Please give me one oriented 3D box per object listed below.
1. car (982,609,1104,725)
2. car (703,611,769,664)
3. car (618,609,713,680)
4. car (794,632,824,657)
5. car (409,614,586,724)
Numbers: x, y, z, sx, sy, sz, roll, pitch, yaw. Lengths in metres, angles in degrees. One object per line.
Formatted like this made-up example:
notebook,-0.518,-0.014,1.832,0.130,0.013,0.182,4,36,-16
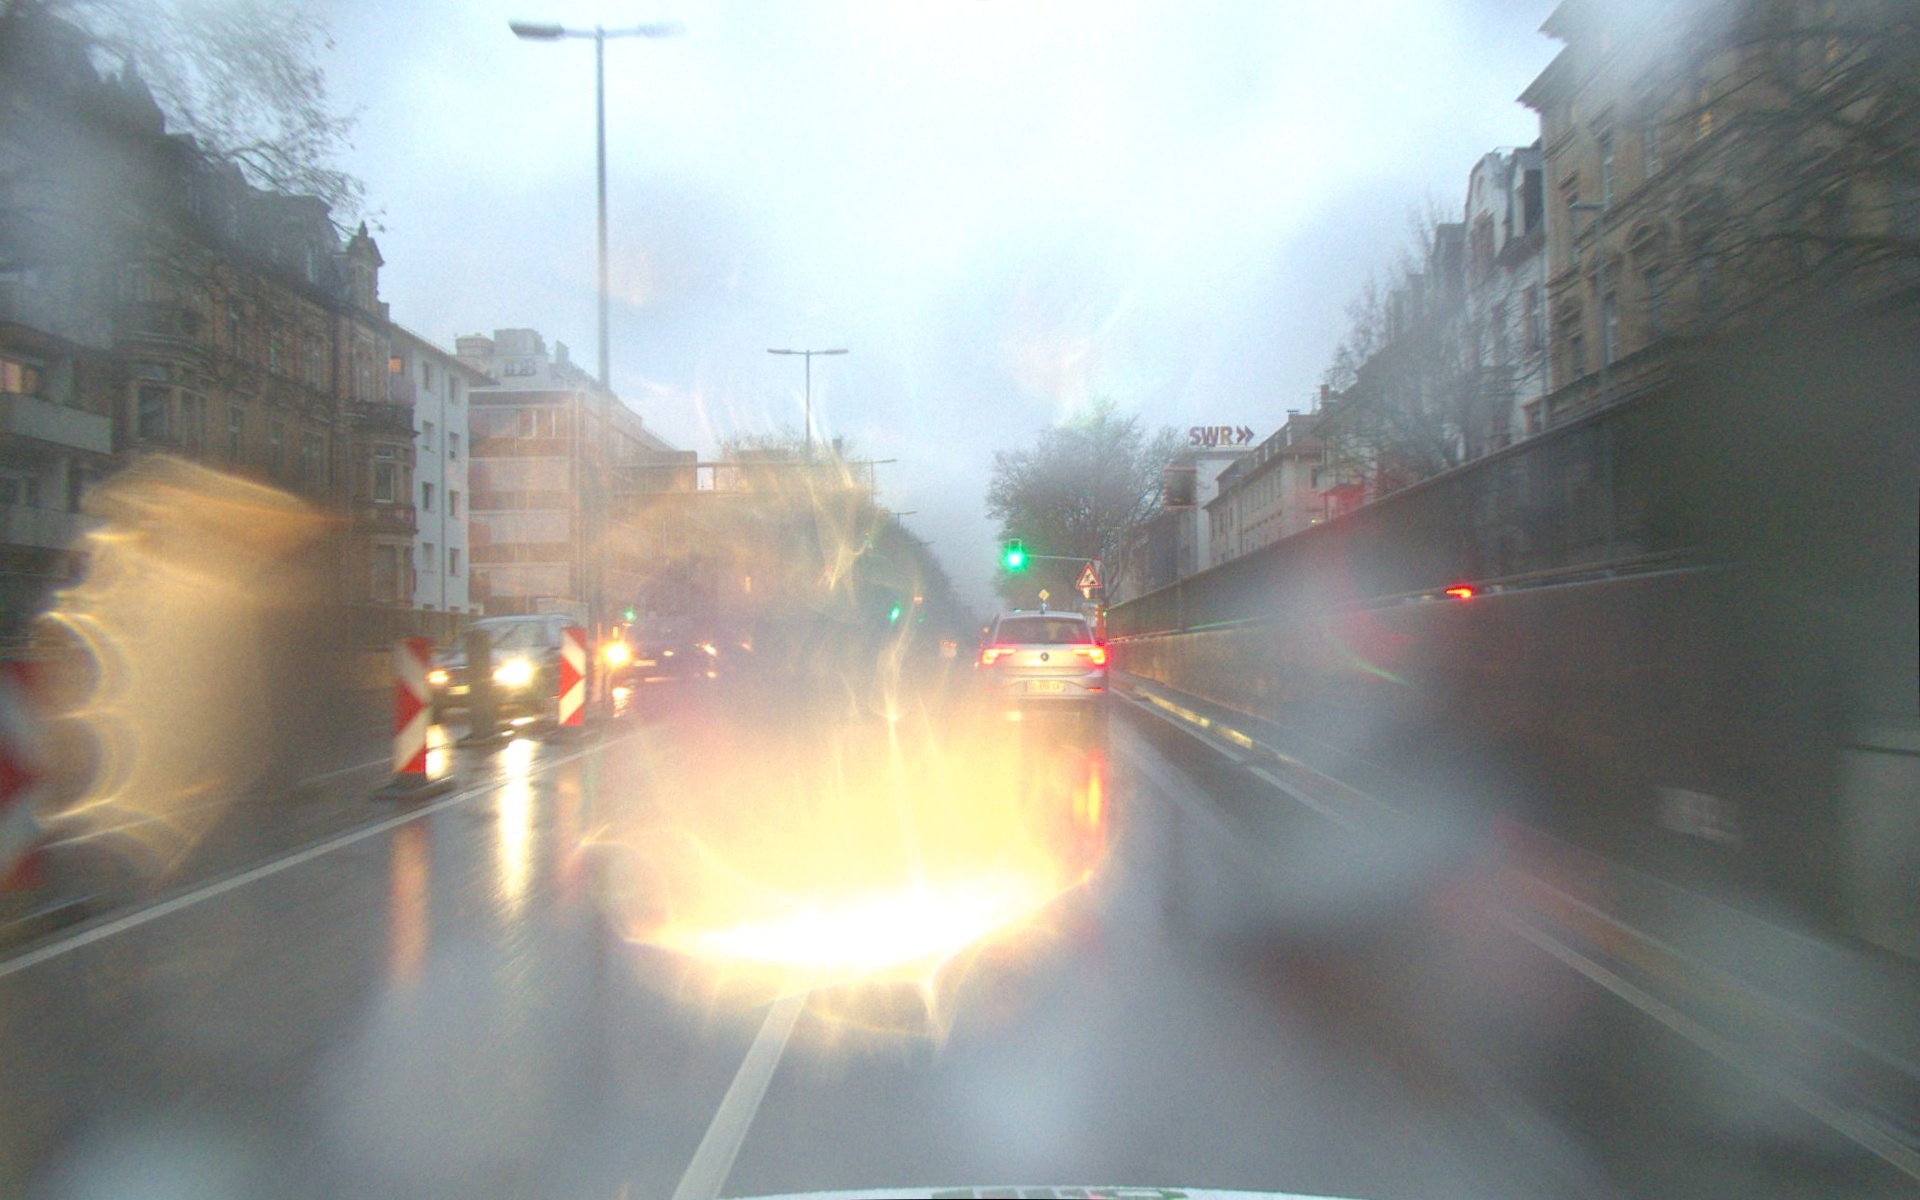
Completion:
car,1.060,0.881,22.345,1.500,1.422,3.433,1,-1,1
car,-6.672,1.095,49.521,1.466,1.407,3.434,-2,1,0
car,-6.604,0.974,37.366,1.465,1.407,3.434,-2,1,1
car,-9.331,2.741,102.389,1.466,1.407,3.434,-2,1,0
car,-6.919,0.980,25.094,1.575,1.407,3.695,-2,1,1
